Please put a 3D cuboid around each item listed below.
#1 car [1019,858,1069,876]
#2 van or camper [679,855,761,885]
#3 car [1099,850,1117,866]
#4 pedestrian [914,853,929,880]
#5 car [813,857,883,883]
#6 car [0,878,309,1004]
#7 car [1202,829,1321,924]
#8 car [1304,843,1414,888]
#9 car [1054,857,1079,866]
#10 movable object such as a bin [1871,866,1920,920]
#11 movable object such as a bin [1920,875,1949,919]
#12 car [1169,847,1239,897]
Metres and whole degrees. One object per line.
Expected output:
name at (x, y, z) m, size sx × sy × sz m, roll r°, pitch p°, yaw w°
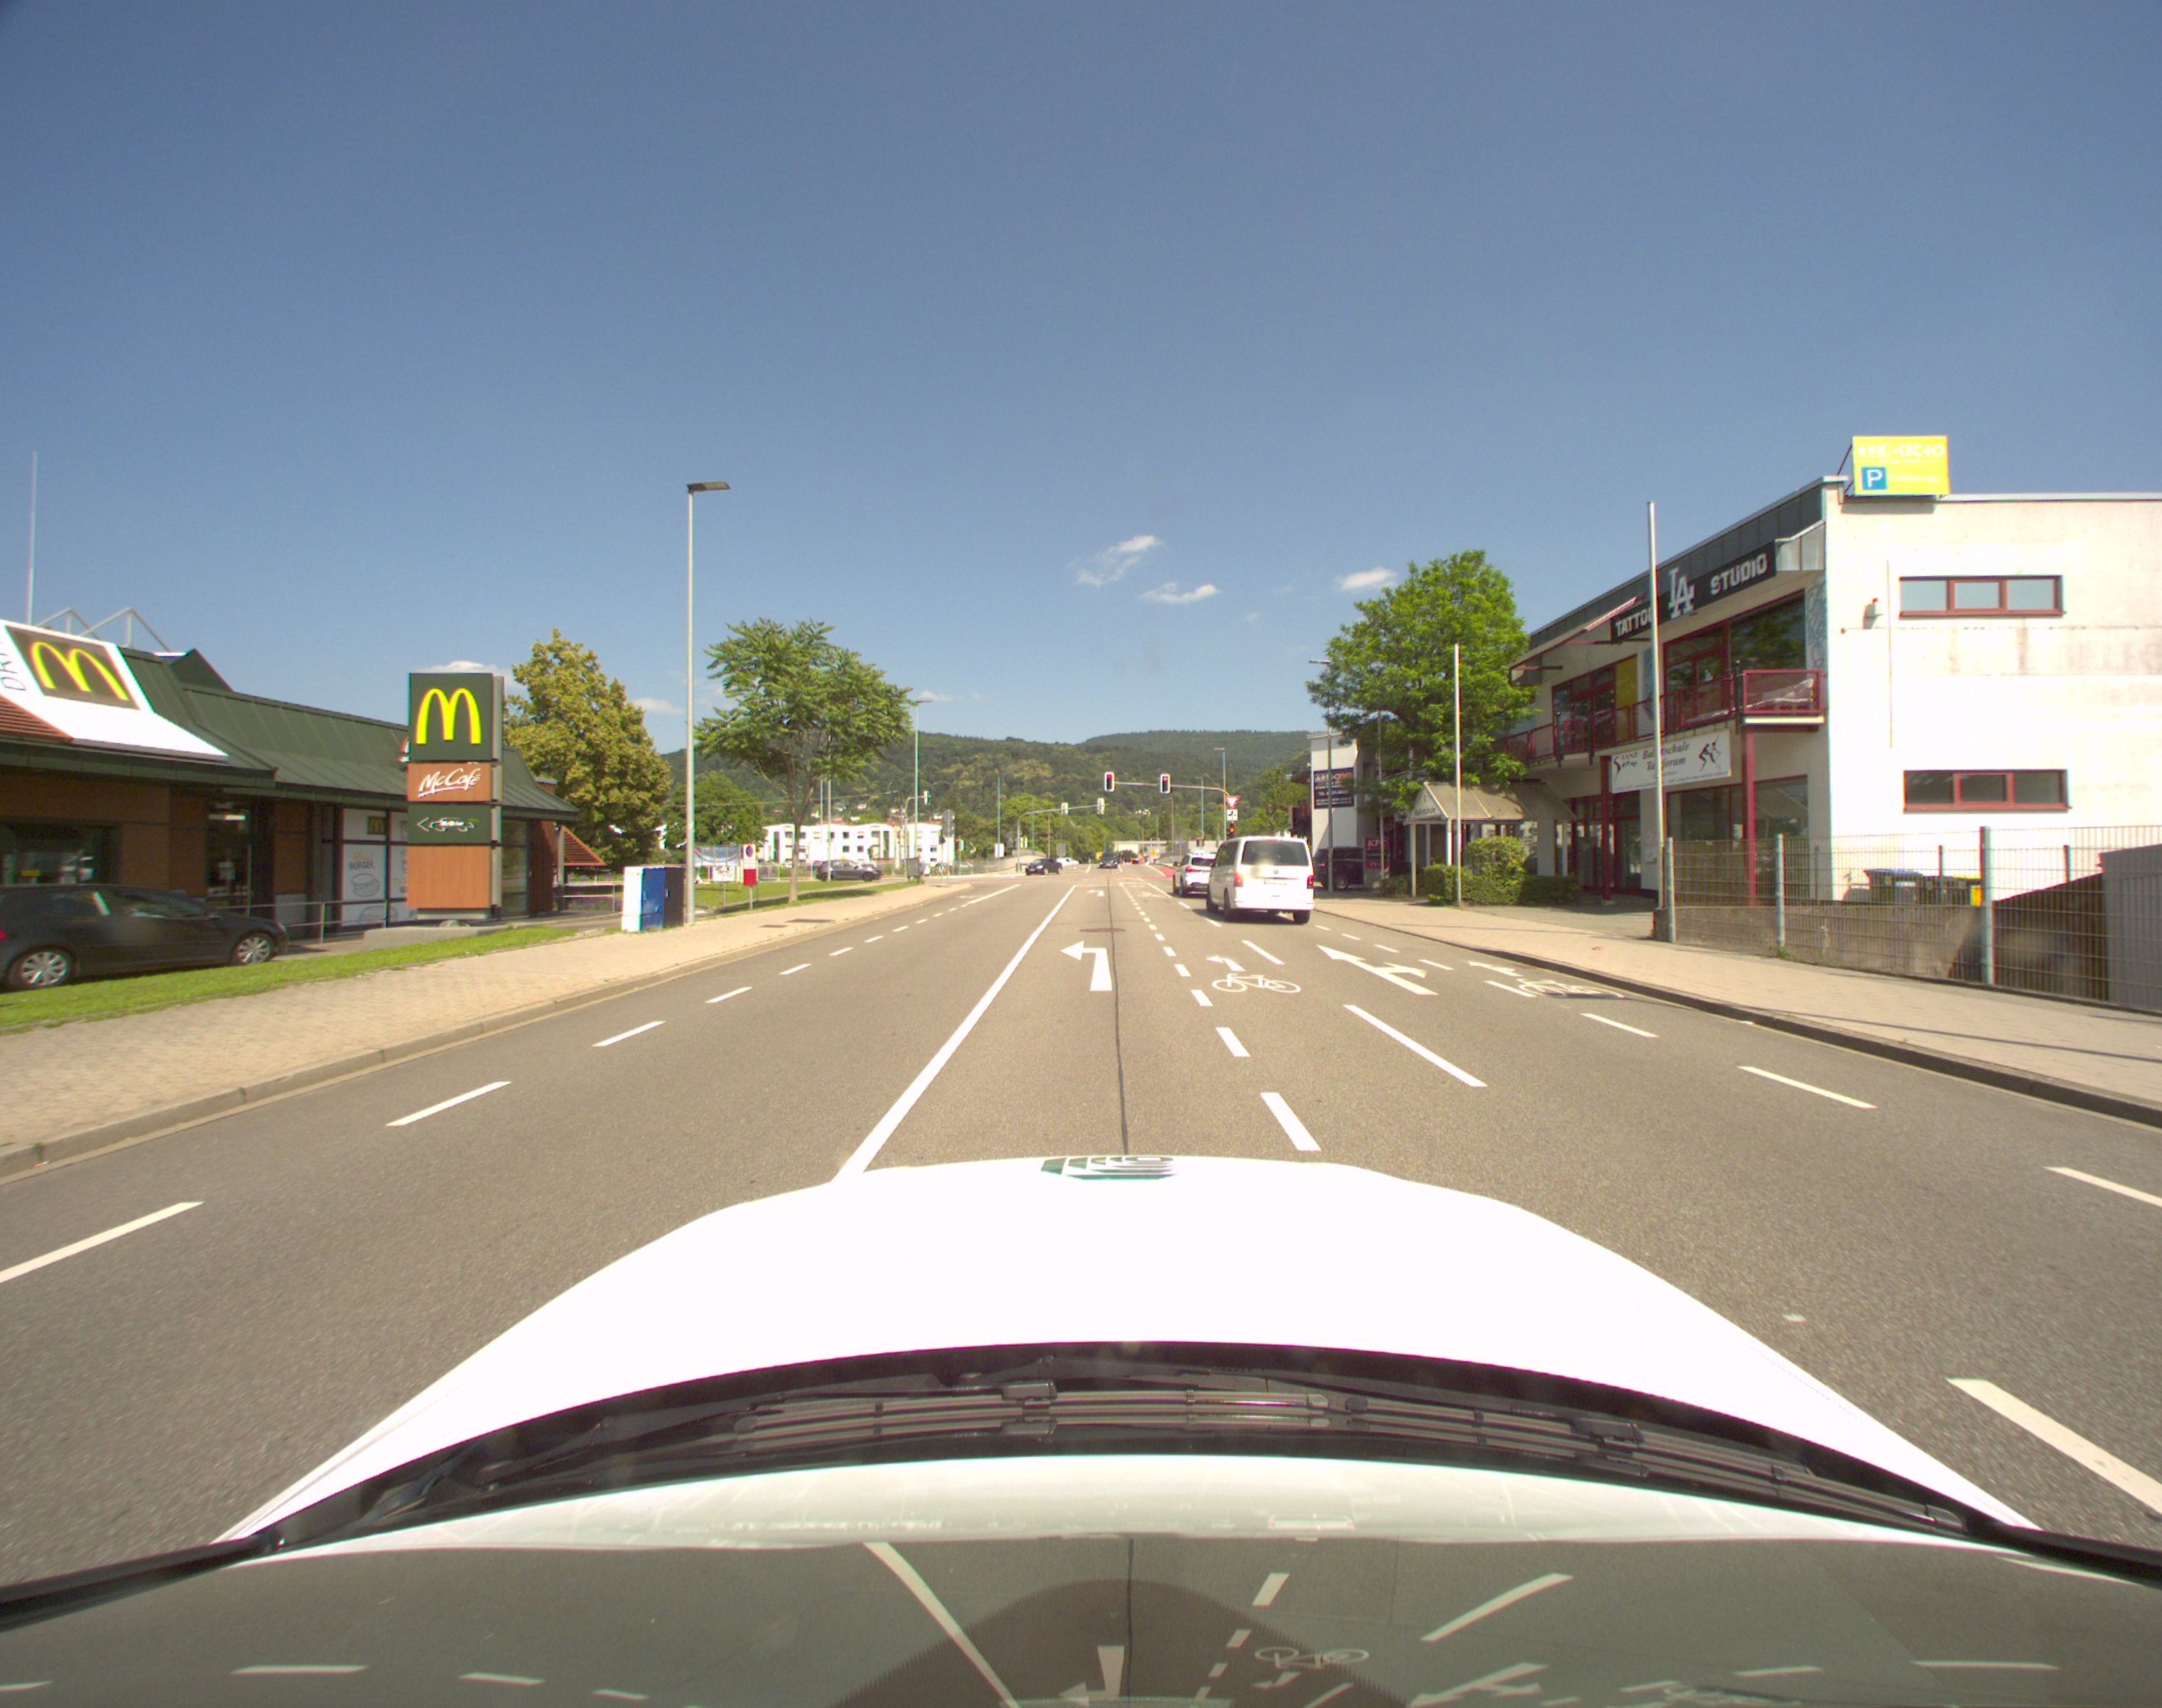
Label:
car at (-3.019, 1.072, 67.867) m, size 1.974 × 1.370 × 4.354 m, roll -1°, pitch 0°, yaw 33°
van or camper at (-20.567, 0.911, 46.535) m, size 3.996 × 1.574 × 1.989 m, roll 2°, pitch 0°, yaw -17°
car at (2.741, 0.409, 83.074) m, size 1.842 × 1.588 × 4.002 m, roll -1°, pitch 0°, yaw 2°
pedestrian at (-9.437, 0.759, 48.165) m, size 0.696 × 1.573 × 0.676 m, roll -1°, pitch 0°, yaw -1°
car at (-15.250, 0.998, 53.392) m, size 4.324 × 1.592 × 1.989 m, roll -1°, pitch 0°, yaw -16°
car at (-14.666, 1.170, 12.245) m, size 1.985 × 1.416 × 4.133 m, roll 2°, pitch 0°, yaw 3°
car at (4.281, 0.474, 20.053) m, size 1.928 × 2.059 × 4.544 m, roll 1°, pitch 0°, yaw 0°
car at (11.385, 0.470, 33.617) m, size 3.965 × 1.775 × 2.004 m, roll -1°, pitch 0°, yaw 7°
car at (-2.686, 1.462, 150.336) m, size 4.404 × 1.588 × 1.867 m, roll -1°, pitch 0°, yaw 30°
movable object such as a bin at (15.849, 0.745, 15.858) m, size 0.410 × 1.012 × 0.545 m, roll -1°, pitch 0°, yaw 3°
movable object such as a bin at (16.638, 0.833, 15.872) m, size 0.266 × 0.854 × 0.275 m, roll -1°, pitch 0°, yaw 3°
car at (4.499, 0.634, 30.449) m, size 1.928 × 1.686 × 4.544 m, roll 1°, pitch 0°, yaw 0°
